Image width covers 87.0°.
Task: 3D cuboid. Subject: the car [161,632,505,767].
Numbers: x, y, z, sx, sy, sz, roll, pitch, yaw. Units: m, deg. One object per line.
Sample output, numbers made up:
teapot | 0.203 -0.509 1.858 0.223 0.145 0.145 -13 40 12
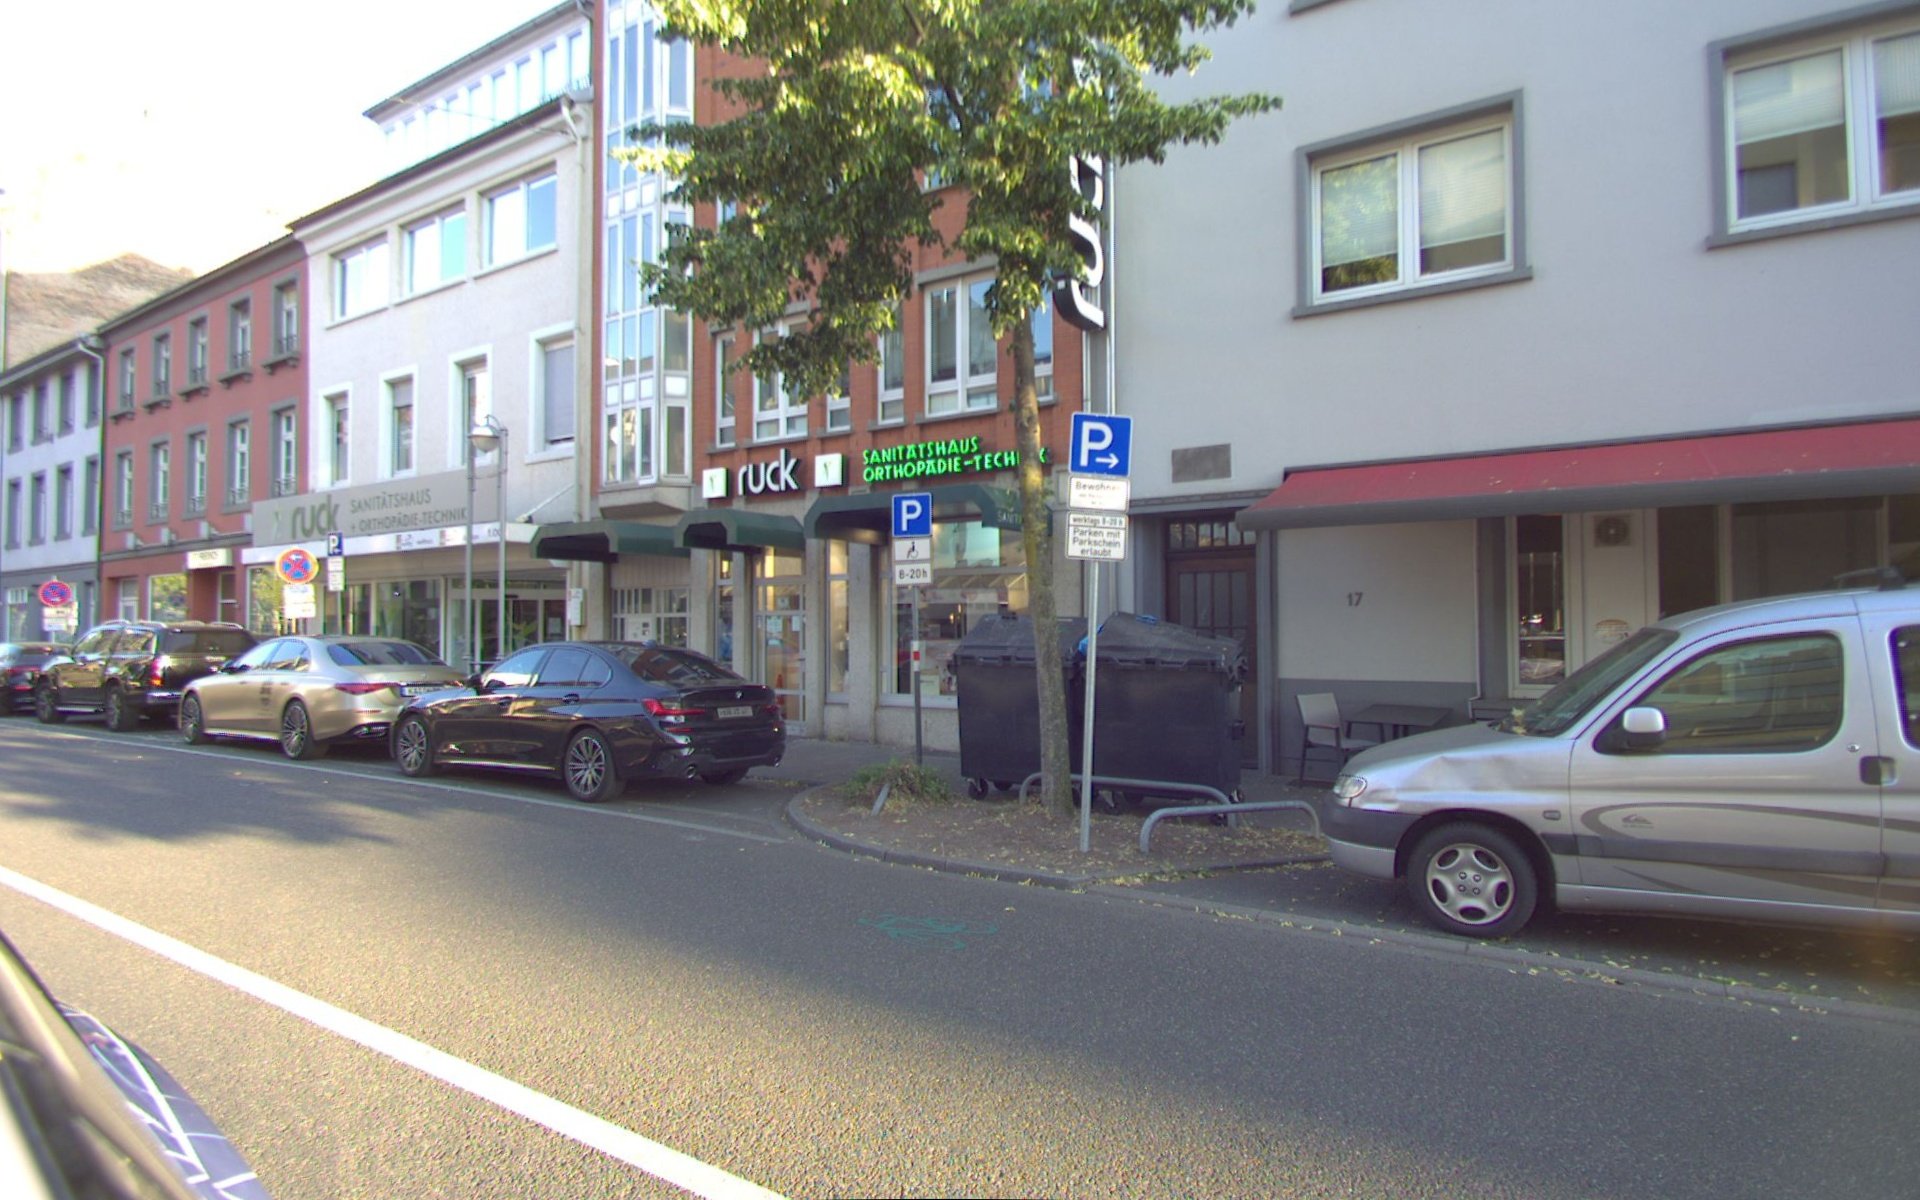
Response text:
car | -8.436 1.226 13.449 5.094 1.484 1.977 -2 -4 34

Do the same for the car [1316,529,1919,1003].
car | 4.005 0.712 4.968 4.038 1.902 1.657 -1 -4 31

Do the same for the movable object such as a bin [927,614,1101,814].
movable object such as a bin | 0.481 0.955 9.016 1.331 1.632 0.775 -1 -1 30

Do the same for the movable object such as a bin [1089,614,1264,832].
movable object such as a bin | 1.773 0.945 8.277 1.203 1.632 0.775 -1 0 30

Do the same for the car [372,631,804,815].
car | -3.855 1.108 10.202 4.528 1.484 1.706 -2 -5 33

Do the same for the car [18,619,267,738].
car | -14.055 1.288 17.321 4.921 1.793 1.708 -2 -4 31

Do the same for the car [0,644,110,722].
car | -19.262 1.655 20.687 4.001 1.448 1.688 -2 -5 32
